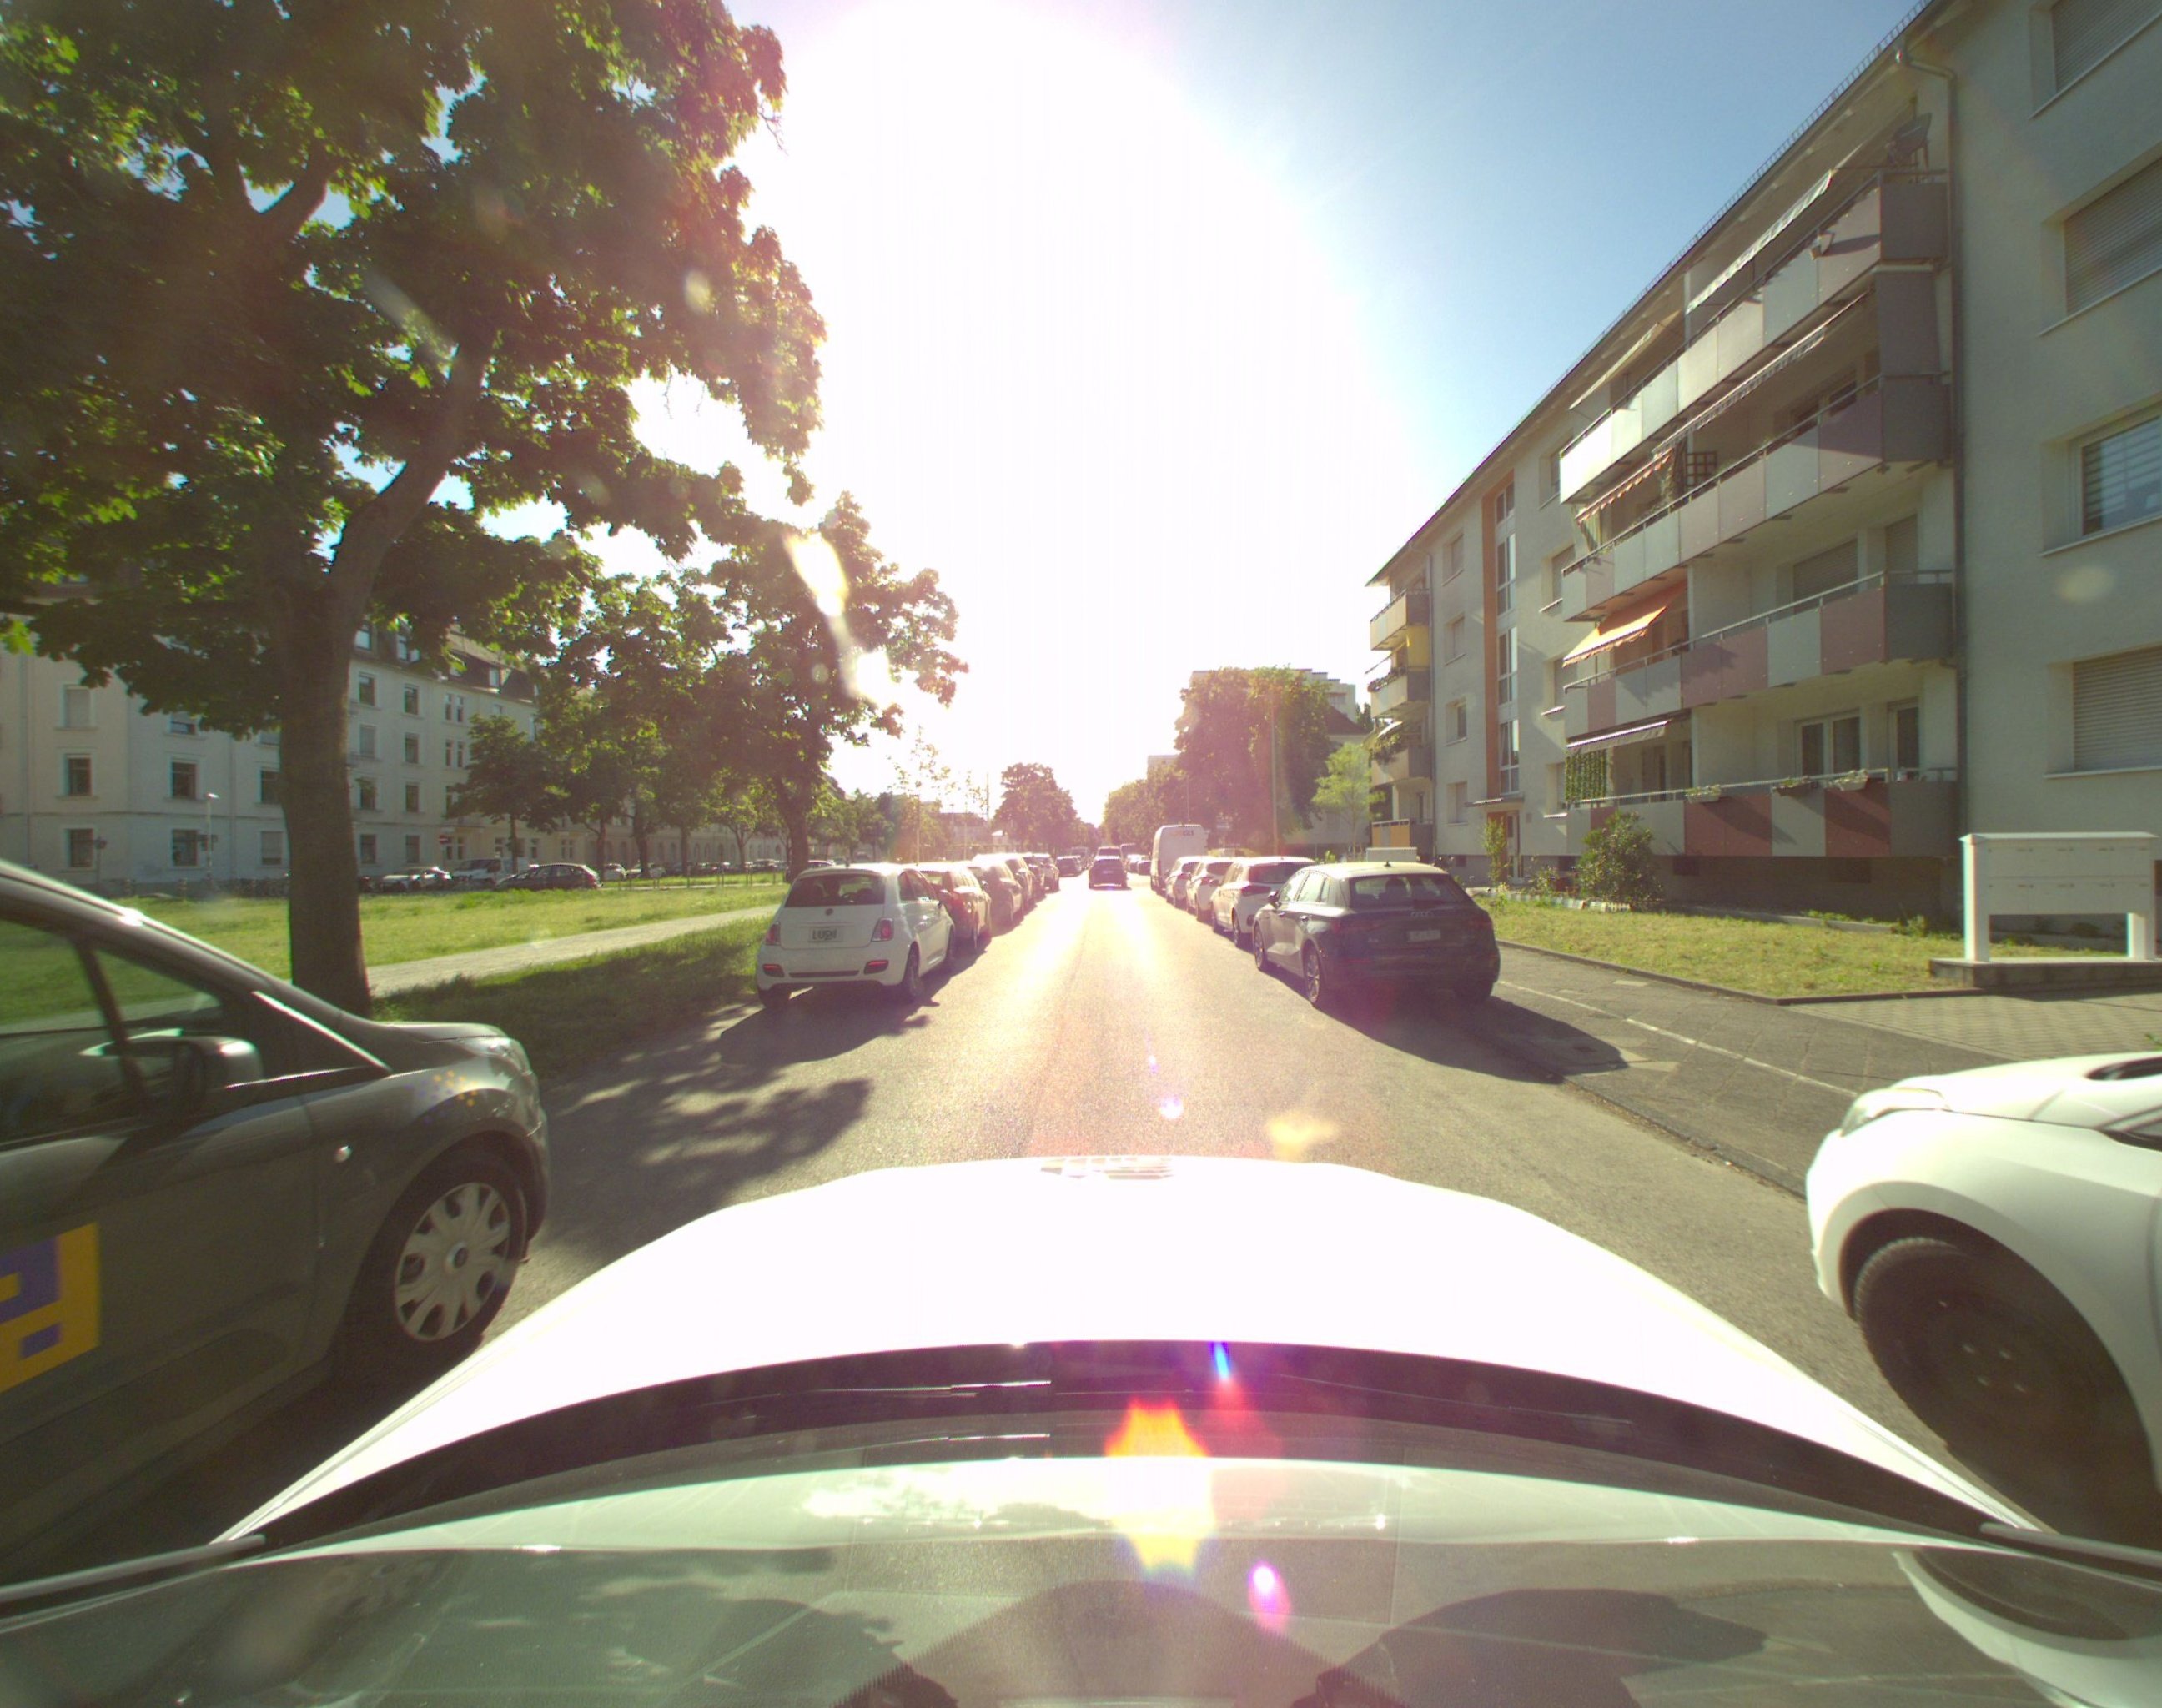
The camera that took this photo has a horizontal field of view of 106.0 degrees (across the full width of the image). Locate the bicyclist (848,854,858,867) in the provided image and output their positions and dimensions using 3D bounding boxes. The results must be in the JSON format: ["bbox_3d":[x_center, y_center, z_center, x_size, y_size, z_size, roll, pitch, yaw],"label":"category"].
[{"bbox_3d":[-31.318,0.913,111.847,0.938,1.837,1.449,-2,-1,0],"label":"bicyclist"}]

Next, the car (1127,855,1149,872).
[{"bbox_3d":[4.802,0.775,68.906,1.772,1.371,4.129,-1,0,3],"label":"car"}]

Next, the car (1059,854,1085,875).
[{"bbox_3d":[-0.681,0.808,63.836,1.770,1.495,3.877,-3,-1,3],"label":"car"}]

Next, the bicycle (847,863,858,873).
[{"bbox_3d":[-31.346,1.947,111.786,0.807,1.252,2.634,1,-1,0],"label":"bicycle"}]

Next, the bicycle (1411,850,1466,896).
[{"bbox_3d":[9.635,0.515,22.024,0.594,1.176,2.014,-1,-2,1],"label":"bicycle"}]

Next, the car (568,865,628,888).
[{"bbox_3d":[-36.028,1.625,60.901,1.689,1.561,4.696,-1,0,-1],"label":"car"}]

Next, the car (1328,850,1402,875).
[{"bbox_3d":[17.029,0.494,48.981,3.877,1.429,1.657,-1,0,-3],"label":"car"}]

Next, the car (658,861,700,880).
[{"bbox_3d":[-35.625,1.463,72.312,1.627,1.549,4.353,-1,0,-1],"label":"car"}]

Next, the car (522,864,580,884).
[{"bbox_3d":[-36.129,1.356,55.595,1.689,1.279,3.524,-1,0,-1],"label":"car"}]

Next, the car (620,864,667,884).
[{"bbox_3d":[-35.935,1.624,66.967,1.689,1.526,4.079,-1,0,-1],"label":"car"}]

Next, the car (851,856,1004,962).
[{"bbox_3d":[-2.500,0.818,14.462,1.750,1.492,4.667,-3,0,0],"label":"car"}]

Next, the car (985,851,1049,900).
[{"bbox_3d":[-2.314,0.748,30.755,1.836,1.638,4.717,-3,0,2],"label":"car"}]

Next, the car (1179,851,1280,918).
[{"bbox_3d":[3.607,0.691,20.478,1.871,1.475,4.142,-1,0,2],"label":"car"}]

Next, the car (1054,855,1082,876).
[{"bbox_3d":[-0.923,0.821,59.317,1.741,1.425,3.919,-3,-1,3],"label":"car"}]

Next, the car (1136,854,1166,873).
[{"bbox_3d":[5.366,0.708,62.938,2.117,1.337,4.509,-3,0,3],"label":"car"}]

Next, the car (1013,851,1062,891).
[{"bbox_3d":[-1.925,0.738,37.181,1.749,1.647,4.290,-3,0,3],"label":"car"}]

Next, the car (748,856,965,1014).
[{"bbox_3d":[-2.513,0.817,10.017,1.581,1.492,3.685,-3,0,0],"label":"car"}]

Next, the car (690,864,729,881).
[{"bbox_3d":[-35.724,1.772,78.491,1.751,1.549,4.526,-1,0,-1],"label":"car"}]

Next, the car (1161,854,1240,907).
[{"bbox_3d":[3.593,0.756,25.166,1.843,1.466,4.201,0,0,0],"label":"car"}]

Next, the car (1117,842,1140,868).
[{"bbox_3d":[5.229,0.121,90.457,2.157,2.689,5.413,-1,0,-2],"label":"car"}]

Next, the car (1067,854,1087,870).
[{"bbox_3d":[-0.391,0.813,81.567,1.826,1.500,4.129,-1,0,3],"label":"car"}]

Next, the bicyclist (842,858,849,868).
[{"bbox_3d":[-31.443,1.198,108.723,0.735,1.437,0.943,-1,0,1],"label":"bicyclist"}]

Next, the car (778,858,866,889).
[{"bbox_3d":[-13.799,1.008,43.386,4.352,1.409,1.906,-1,2,-23],"label":"car"}]

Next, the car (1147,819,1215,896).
[{"bbox_3d":[3.918,0.132,33.137,2.134,2.713,6.846,-3,0,3],"label":"car"}]

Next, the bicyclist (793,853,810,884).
[{"bbox_3d":[-15.909,0.813,46.428,0.879,1.690,0.628,-1,0,-18],"label":"bicyclist"}]

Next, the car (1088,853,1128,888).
[{"bbox_3d":[1.297,0.730,38.172,1.772,1.531,4.003,0,0,3],"label":"car"}]

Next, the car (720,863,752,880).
[{"bbox_3d":[-35.558,1.777,84.044,1.627,1.686,4.079,-1,0,-1],"label":"car"}]

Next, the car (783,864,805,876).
[{"bbox_3d":[-35.221,1.930,100.065,1.375,1.440,3.344,-1,0,3],"label":"car"}]

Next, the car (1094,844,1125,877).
[{"bbox_3d":[1.887,0.391,53.656,1.887,1.991,4.013,-3,0,3],"label":"car"}]

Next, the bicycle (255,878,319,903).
[{"bbox_3d":[-36.378,1.662,37.339,1.986,1.016,0.653,-1,0,-28],"label":"bicycle"}]

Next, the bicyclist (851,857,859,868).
[{"bbox_3d":[-30.236,1.125,109.014,0.735,1.437,0.943,-1,0,1],"label":"bicyclist"}]

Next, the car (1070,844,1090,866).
[{"bbox_3d":[-0.088,0.127,96.450,2.090,2.496,4.129,-1,0,3],"label":"car"}]

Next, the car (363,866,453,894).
[{"bbox_3d":[-41.872,1.595,50.803,1.989,1.586,4.448,-1,0,-2],"label":"car"}]

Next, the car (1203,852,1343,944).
[{"bbox_3d":[3.374,0.706,15.103,1.715,1.435,4.154,-1,0,2],"label":"car"}]

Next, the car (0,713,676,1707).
[{"bbox_3d":[-2.850,0.655,1.213,1.857,1.785,4.993,-1,-1,2],"label":"car"}]

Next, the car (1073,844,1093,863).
[{"bbox_3d":[0.302,-0.070,121.913,2.606,2.645,6.118,-1,0,3],"label":"car"}]

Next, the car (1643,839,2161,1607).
[{"bbox_3d":[3.000,0.714,1.090,1.743,1.499,3.858,-1,0,-2],"label":"car"}]

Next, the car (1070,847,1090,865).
[{"bbox_3d":[-0.108,0.213,90.036,2.090,1.942,4.128,-1,0,2],"label":"car"}]

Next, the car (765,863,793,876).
[{"bbox_3d":[-35.328,1.791,95.378,1.687,1.429,3.777,-1,0,2],"label":"car"}]

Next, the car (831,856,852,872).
[{"bbox_3d":[-34.783,1.480,118.403,1.689,2.213,5.006,-1,0,-1],"label":"car"}]

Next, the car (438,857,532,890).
[{"bbox_3d":[-36.616,1.154,50.223,2.075,1.872,5.096,-1,0,-1],"label":"car"}]

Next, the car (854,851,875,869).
[{"bbox_3d":[-34.751,0.925,130.864,1.910,2.744,5.622,-1,0,-1],"label":"car"}]

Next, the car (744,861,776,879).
[{"bbox_3d":[-35.455,1.712,90.092,1.731,1.908,4.459,-1,0,-1],"label":"car"}]

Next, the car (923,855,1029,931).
[{"bbox_3d":[-2.379,0.840,19.632,1.867,1.519,4.470,-3,0,0],"label":"car"}]

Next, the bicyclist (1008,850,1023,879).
[{"bbox_3d":[-3.695,0.605,45.863,0.786,1.596,0.696,-1,0,-2],"label":"bicyclist"}]

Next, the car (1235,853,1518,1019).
[{"bbox_3d":[3.125,0.750,9.673,1.694,1.435,4.471,-3,0,0],"label":"car"}]

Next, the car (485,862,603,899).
[{"bbox_3d":[-25.395,1.223,38.721,4.353,1.576,1.914,-1,0,-23],"label":"car"}]

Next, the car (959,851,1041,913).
[{"bbox_3d":[-2.332,0.775,24.664,1.813,1.610,4.740,-3,0,2],"label":"car"}]
